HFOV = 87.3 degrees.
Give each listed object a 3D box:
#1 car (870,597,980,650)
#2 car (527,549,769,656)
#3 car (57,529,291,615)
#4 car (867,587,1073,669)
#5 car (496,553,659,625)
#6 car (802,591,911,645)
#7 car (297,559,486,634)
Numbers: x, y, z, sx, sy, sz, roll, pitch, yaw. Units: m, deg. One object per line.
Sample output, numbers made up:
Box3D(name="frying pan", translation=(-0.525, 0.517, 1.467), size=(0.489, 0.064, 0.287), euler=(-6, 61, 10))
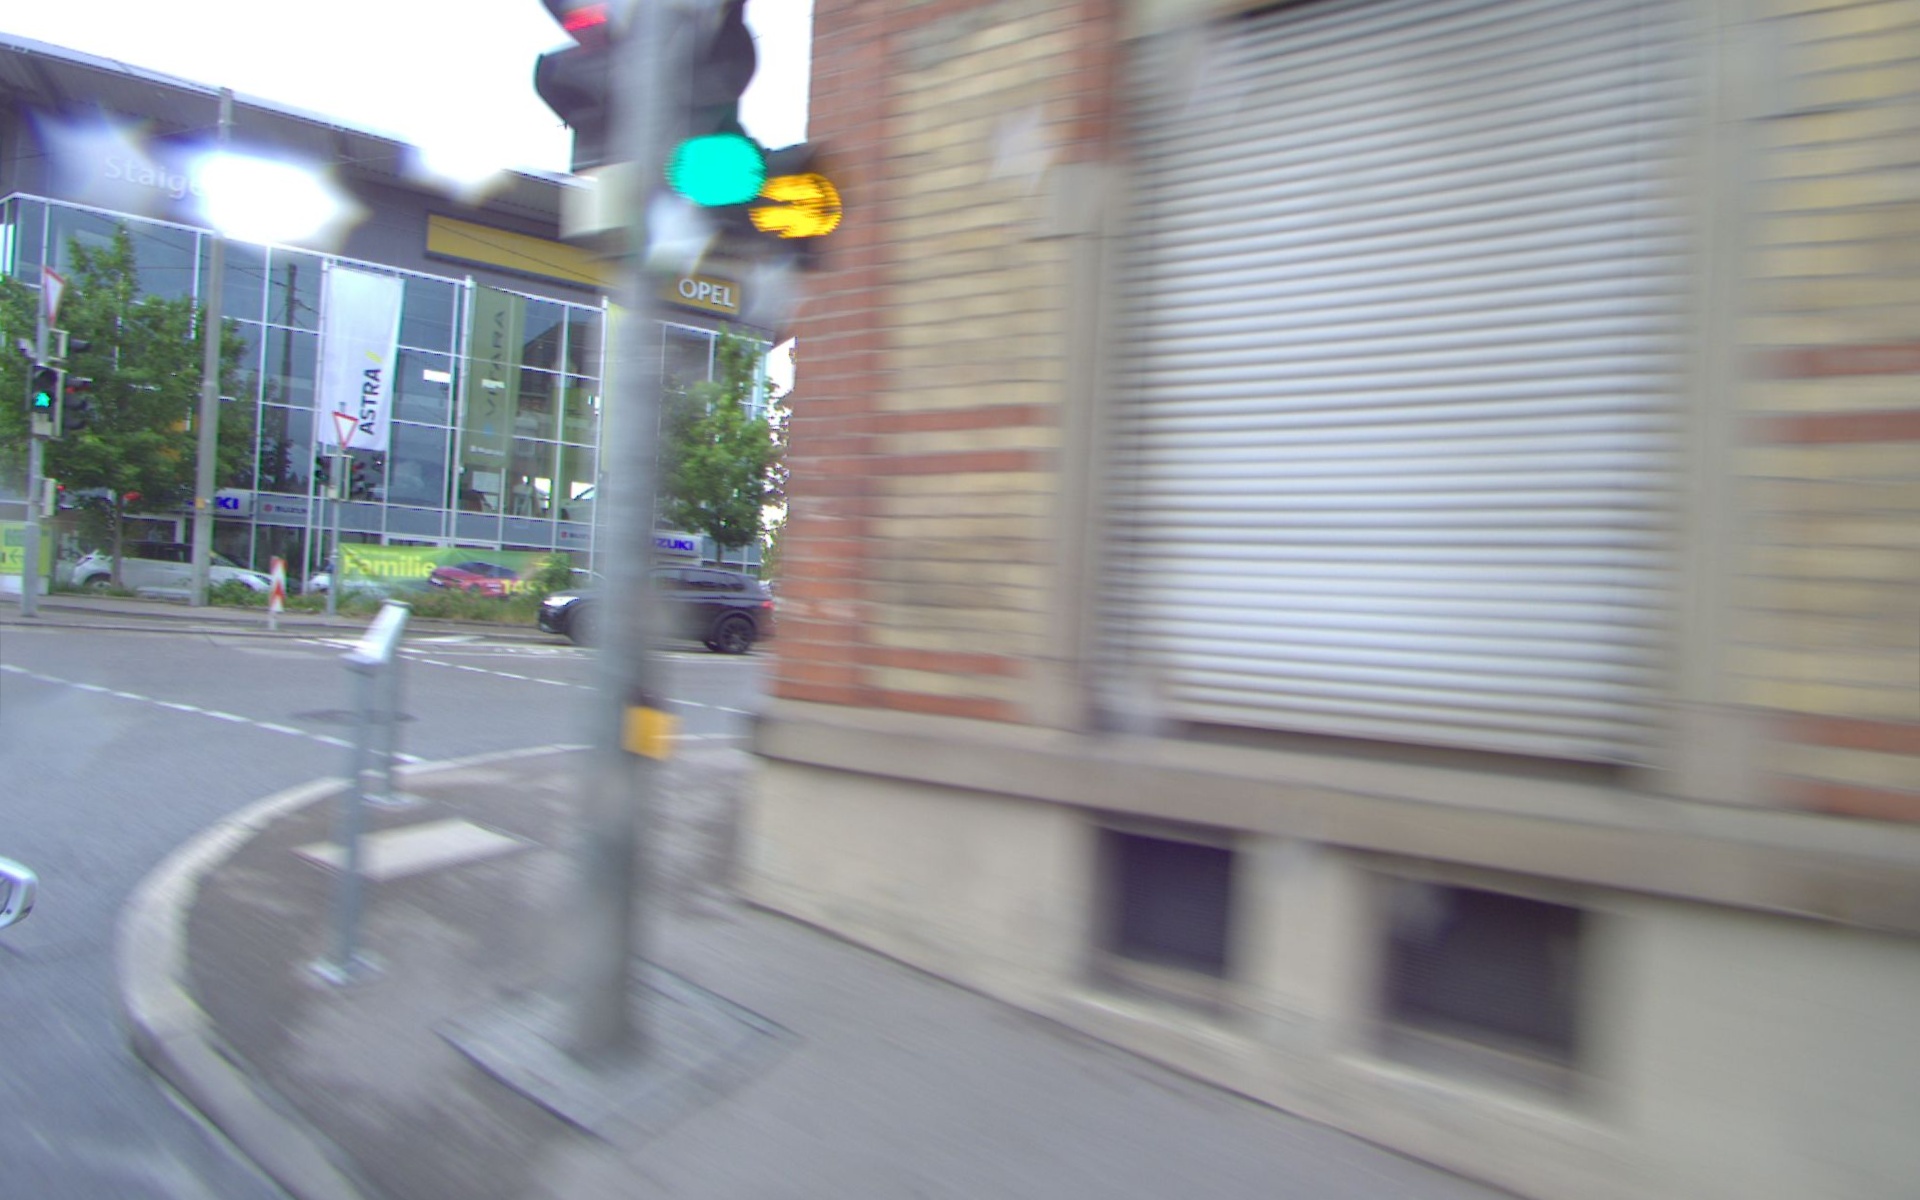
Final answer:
Box3D(name="car", translation=(-1.152, 0.702, 31.062), size=(1.703, 1.300, 3.970), euler=(4, 0, -30))
Box3D(name="car", translation=(-6.006, 0.076, 19.401), size=(4.197, 1.684, 1.795), euler=(5, 0, -24))
Box3D(name="car", translation=(-17.884, -0.572, 23.158), size=(3.956, 1.525, 1.885), euler=(5, -4, -32))
Box3D(name="car", translation=(0.247, 0.636, 22.533), size=(4.204, 1.523, 1.792), euler=(5, 0, -29))
Box3D(name="car", translation=(-10.400, -0.250, 27.373), size=(3.949, 1.611, 1.815), euler=(4, -1, -27))
Box3D(name="car", translation=(-3.155, 0.511, 30.007), size=(1.703, 1.289, 3.970), euler=(4, 0, -30))
Box3D(name="car", translation=(-14.154, -0.053, 25.318), size=(3.949, 1.548, 1.815), euler=(4, -1, -27))
